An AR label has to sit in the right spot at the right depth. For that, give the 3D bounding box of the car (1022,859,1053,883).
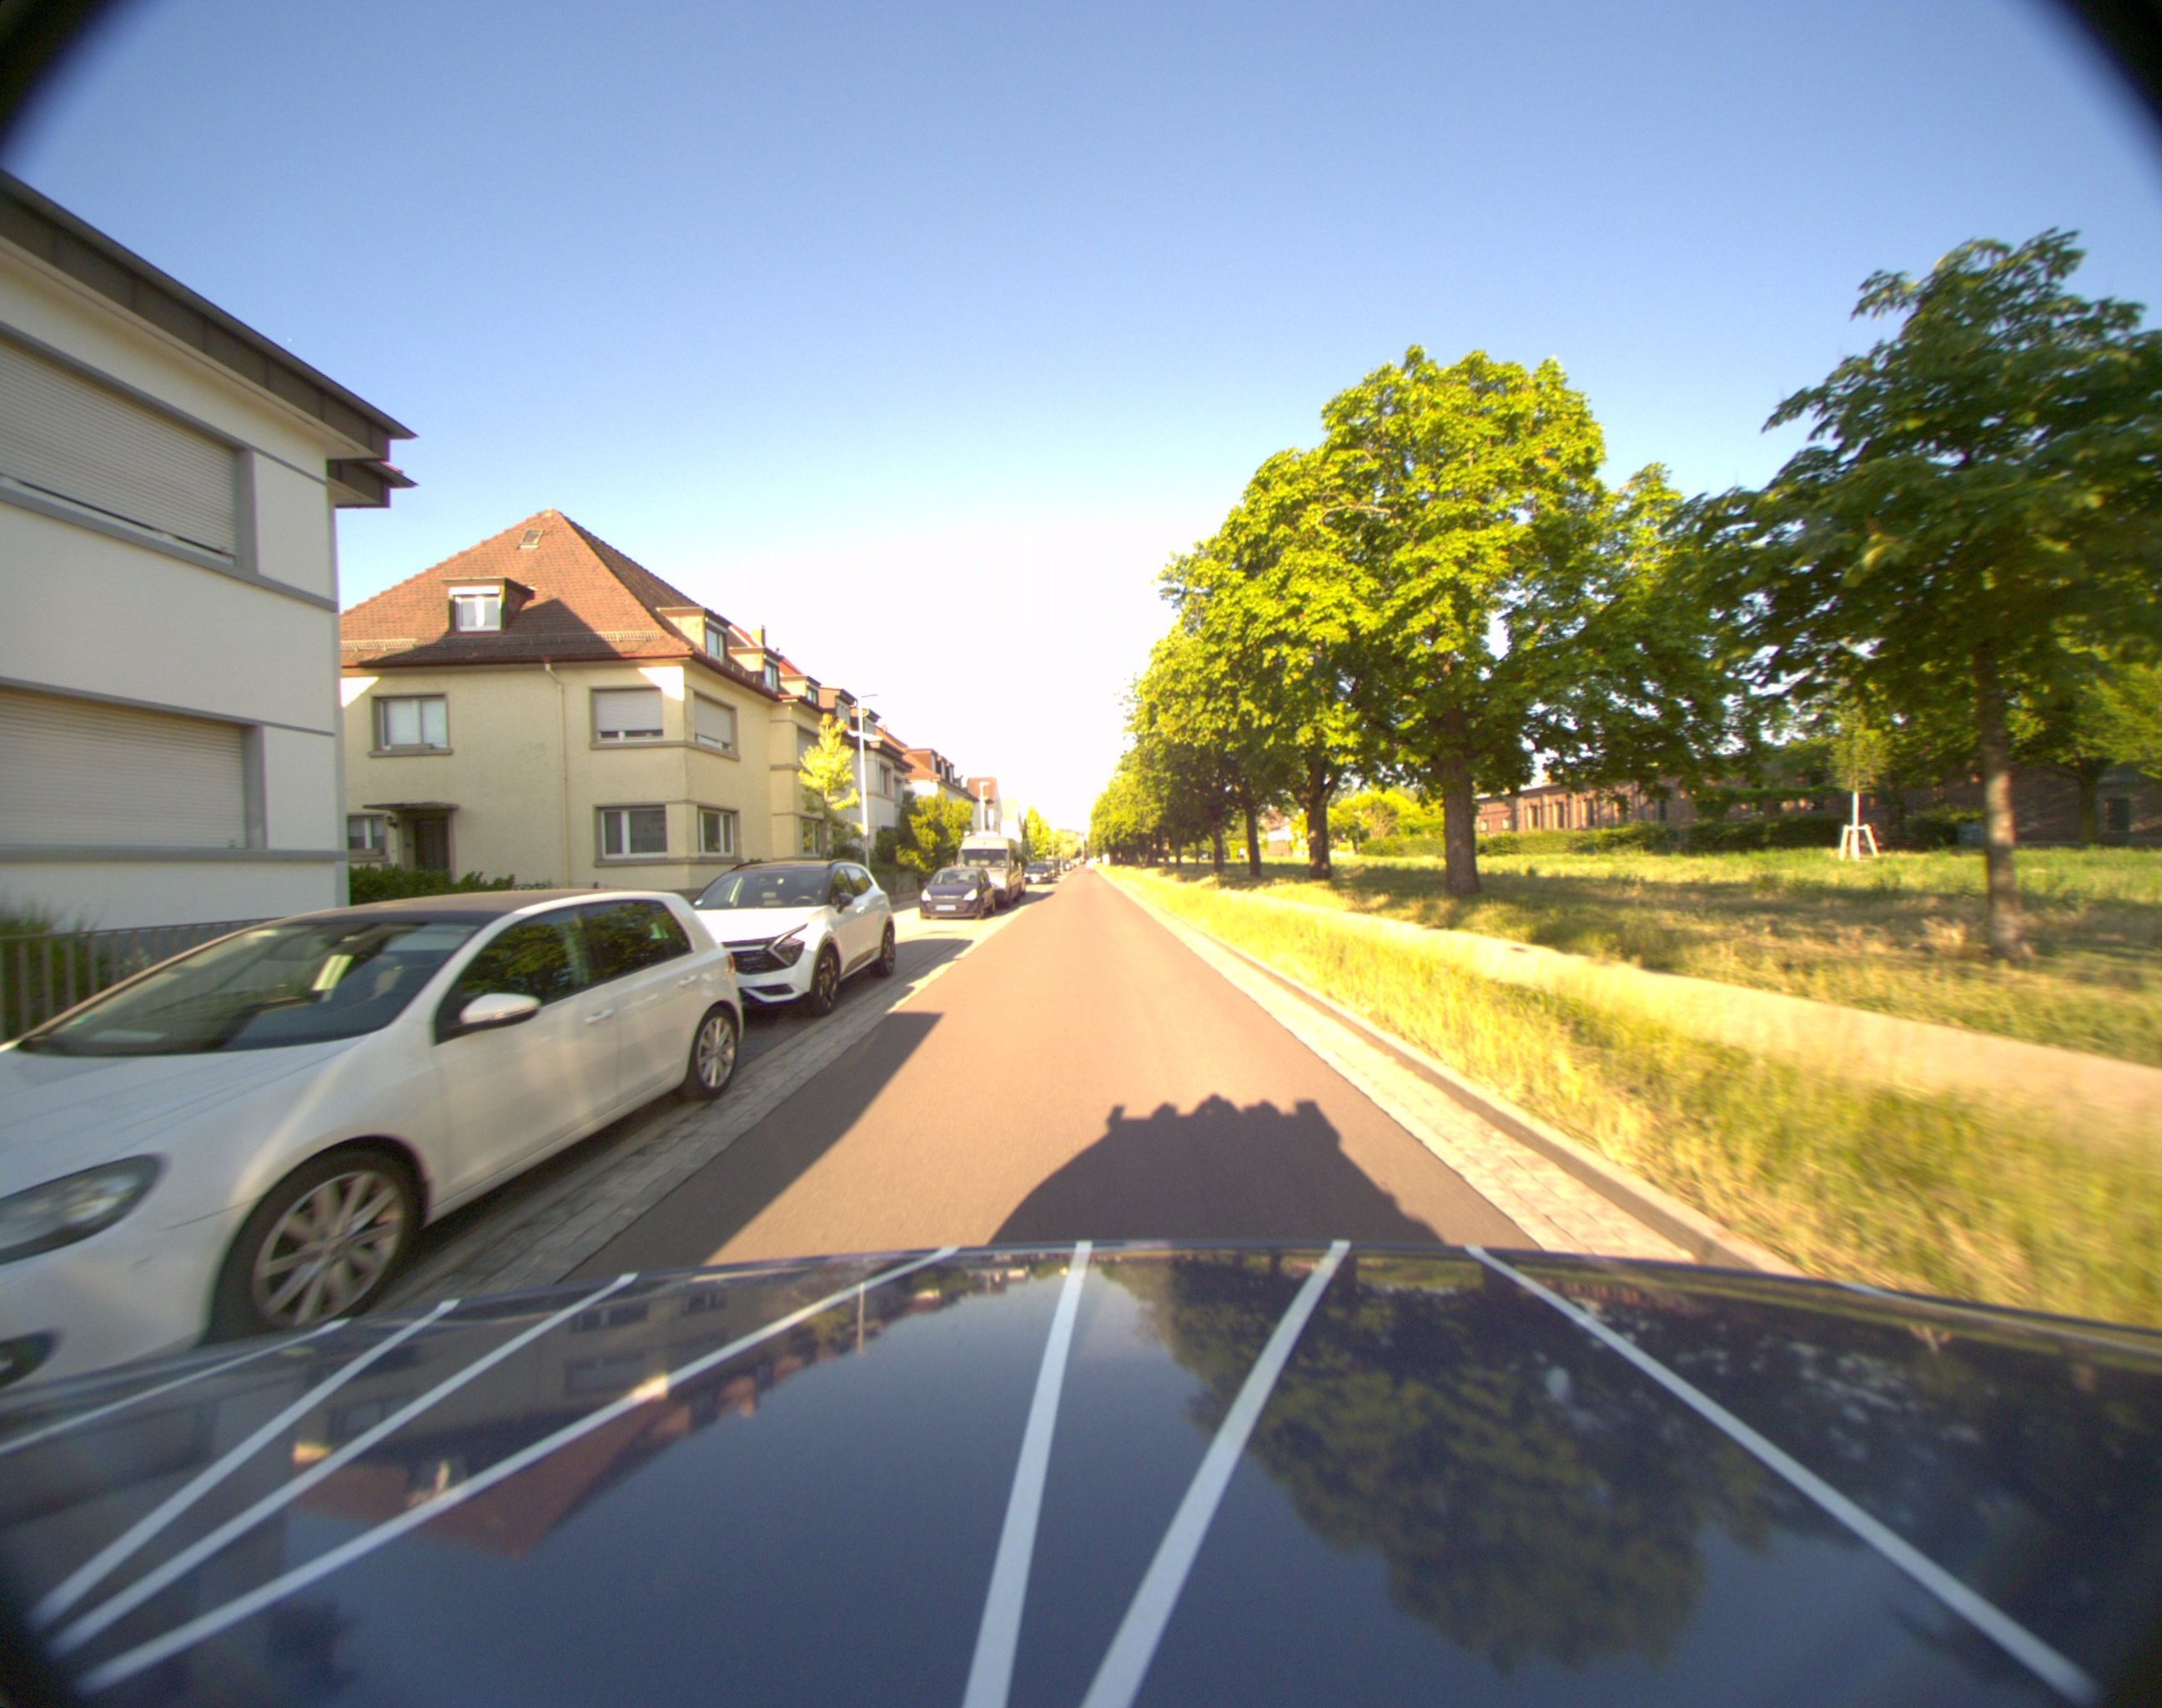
[{"bbox_3d":[-3.095,1.172,54.788,1.974,1.630,4.000,-1,0,1],"label":"car"}]

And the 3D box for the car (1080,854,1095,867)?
[{"bbox_3d":[0.885,0.884,100.441,1.974,1.630,4.000,-1,0,1],"label":"car"}]

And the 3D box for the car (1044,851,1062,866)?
[{"bbox_3d":[-3.506,0.565,94.919,1.974,1.630,4.000,-3,0,1],"label":"car"}]

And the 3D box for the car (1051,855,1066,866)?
[{"bbox_3d":[-3.395,1.013,116.121,1.974,1.630,4.000,-2,0,1],"label":"car"}]

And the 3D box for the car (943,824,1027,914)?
[{"bbox_3d":[-3.400,0.501,28.209,2.134,2.837,5.987,-3,0,1],"label":"car"}]

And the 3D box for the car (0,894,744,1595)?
[{"bbox_3d":[-3.356,1.051,3.516,1.626,1.474,4.108,-2,0,2],"label":"car"}]

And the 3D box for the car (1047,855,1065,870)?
[{"bbox_3d":[-2.899,0.993,88.951,1.974,1.630,4.000,-1,0,1],"label":"car"}]

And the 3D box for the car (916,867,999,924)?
[{"bbox_3d":[-3.470,1.135,22.043,1.629,1.431,4.005,0,0,2],"label":"car"}]

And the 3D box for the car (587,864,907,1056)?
[{"bbox_3d":[-3.525,0.987,9.090,1.782,1.635,4.480,-2,0,0],"label":"car"}]

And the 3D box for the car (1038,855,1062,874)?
[{"bbox_3d":[-2.907,0.952,72.531,1.974,1.630,4.000,-3,0,1],"label":"car"}]

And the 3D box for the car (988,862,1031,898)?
[{"bbox_3d":[-3.206,1.140,34.367,1.467,1.490,3.357,-2,0,2],"label":"car"}]

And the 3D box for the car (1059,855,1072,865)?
[{"bbox_3d":[-2.657,1.016,132.586,1.974,1.630,4.000,-3,0,1],"label":"car"}]
